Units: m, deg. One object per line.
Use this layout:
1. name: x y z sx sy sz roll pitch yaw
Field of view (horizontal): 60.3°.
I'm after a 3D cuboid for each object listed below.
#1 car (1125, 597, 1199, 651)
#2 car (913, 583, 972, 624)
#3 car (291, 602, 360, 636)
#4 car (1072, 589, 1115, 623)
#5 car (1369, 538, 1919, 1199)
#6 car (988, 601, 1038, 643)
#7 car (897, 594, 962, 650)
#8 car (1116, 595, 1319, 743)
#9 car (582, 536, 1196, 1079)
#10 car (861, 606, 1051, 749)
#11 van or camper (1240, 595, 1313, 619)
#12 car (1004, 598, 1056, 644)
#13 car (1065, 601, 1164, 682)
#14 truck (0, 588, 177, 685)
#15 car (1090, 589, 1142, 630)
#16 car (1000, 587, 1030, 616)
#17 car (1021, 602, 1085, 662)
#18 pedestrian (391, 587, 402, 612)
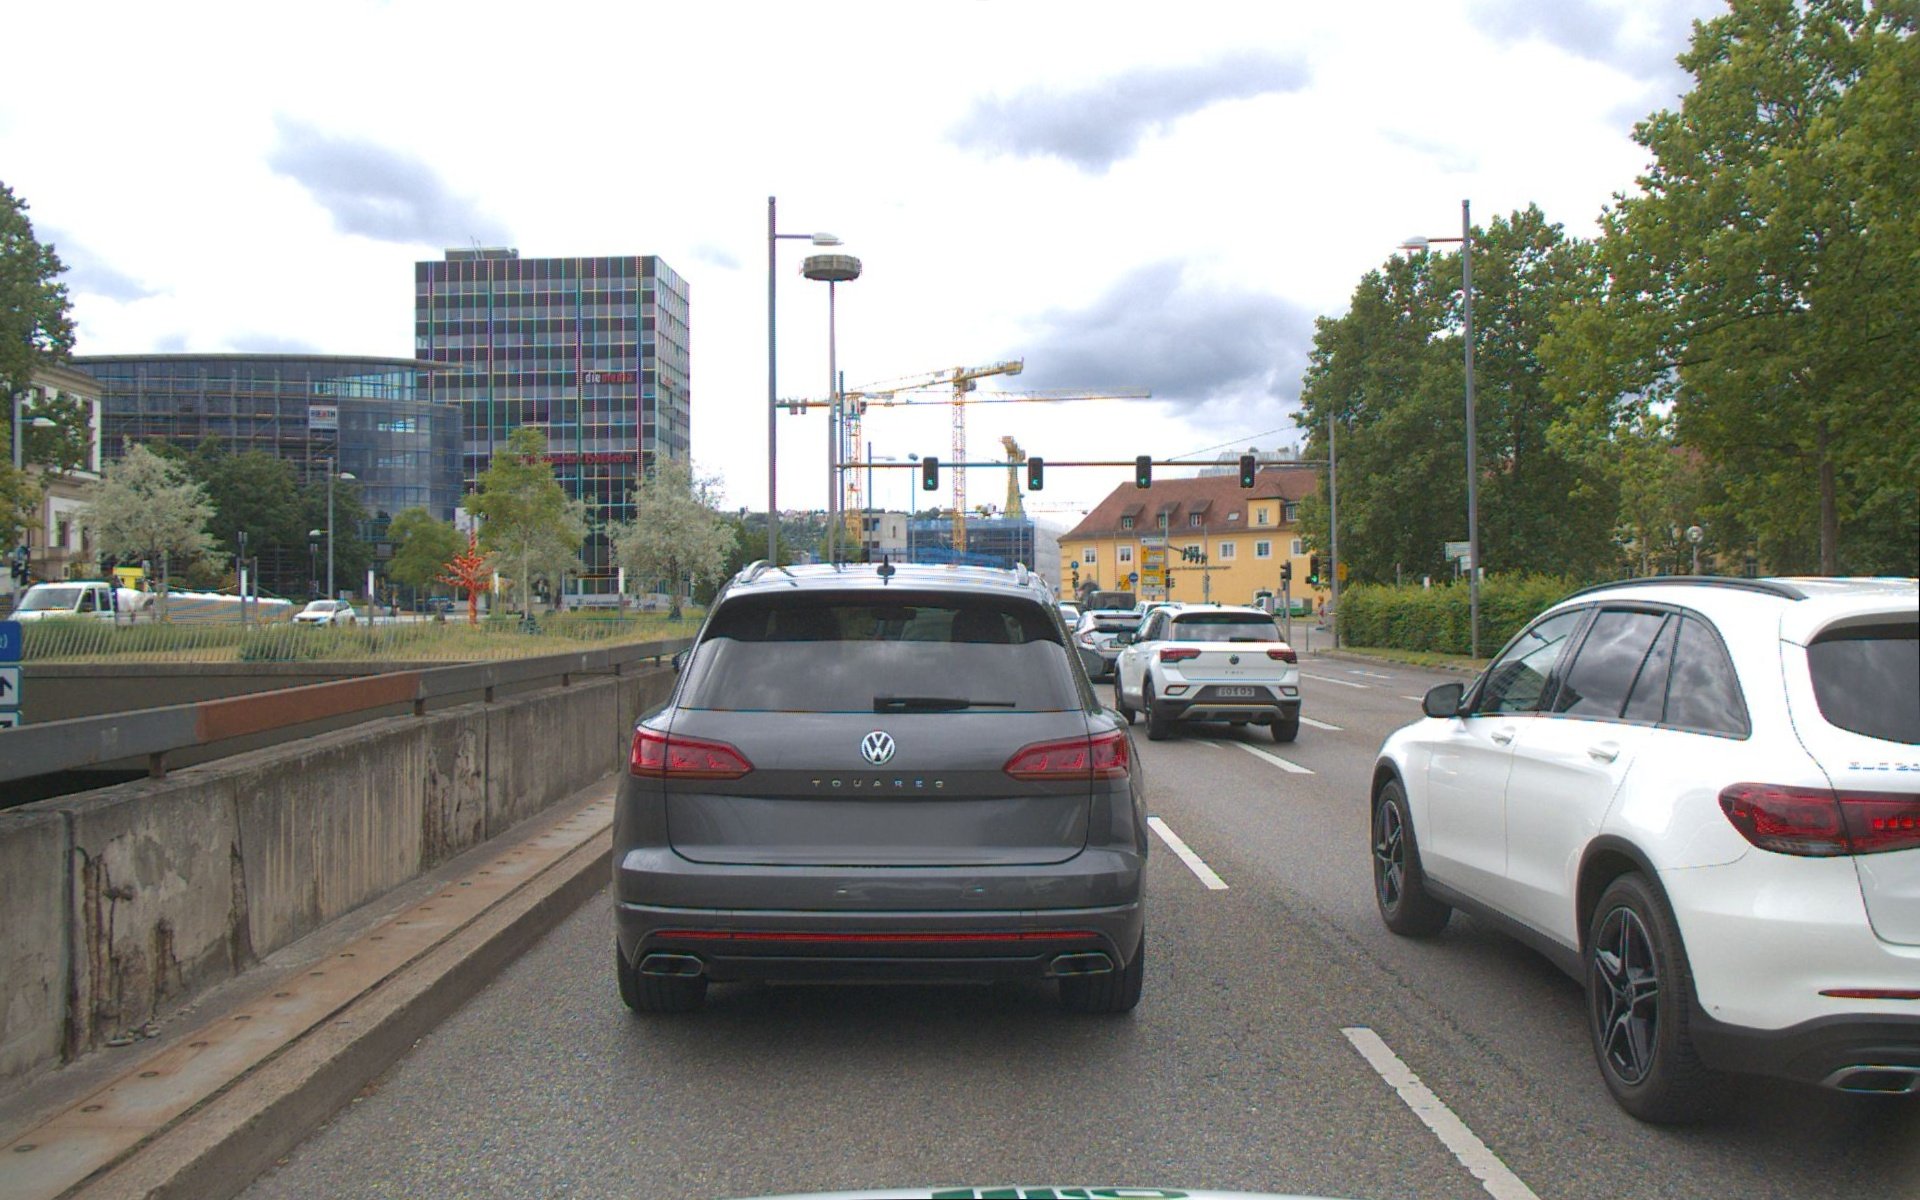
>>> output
1. car: 6.064 0.698 49.904 1.766 1.529 3.981 0 0 0
2. car: -0.645 0.104 65.051 2.198 1.529 4.611 0 0 0
3. car: -31.717 0.910 82.812 1.683 1.602 4.613 0 1 0
4. car: 6.078 0.251 75.759 1.683 1.529 3.981 0 0 0
5. car: 2.967 0.679 6.250 1.781 1.676 4.379 0 0 0
6. car: 2.323 0.950 72.820 2.095 1.758 4.071 0 0 1
7. car: -0.861 0.594 47.531 1.777 1.522 3.905 0 0 -1
8. car: 3.039 0.764 20.286 1.855 1.613 3.800 0 0 -1
9. car: -0.245 0.635 7.132 1.893 1.676 3.999 0 0 -1
10. car: -0.070 0.805 19.065 1.953 1.411 3.999 0 1 -1
11. van or camper: 27.300 0.622 142.664 5.902 2.049 2.012 0 -1 35
12. car: 2.479 0.723 59.162 1.683 1.529 3.981 0 0 0
13. car: 3.148 0.814 34.280 1.683 1.529 4.144 0 0 0
14. truck: -28.092 1.079 53.193 2.413 2.865 7.079 0 1 0
15. car: 6.030 0.344 64.379 1.683 1.529 3.981 0 0 0
16. car: 3.964 0.102 118.688 1.953 2.049 3.999 0 0 -1
17. car: 2.527 0.846 45.495 1.683 1.529 3.982 0 0 2
18. pedestrian: -38.996 -0.023 114.528 0.513 1.678 0.650 1 -1 -2
